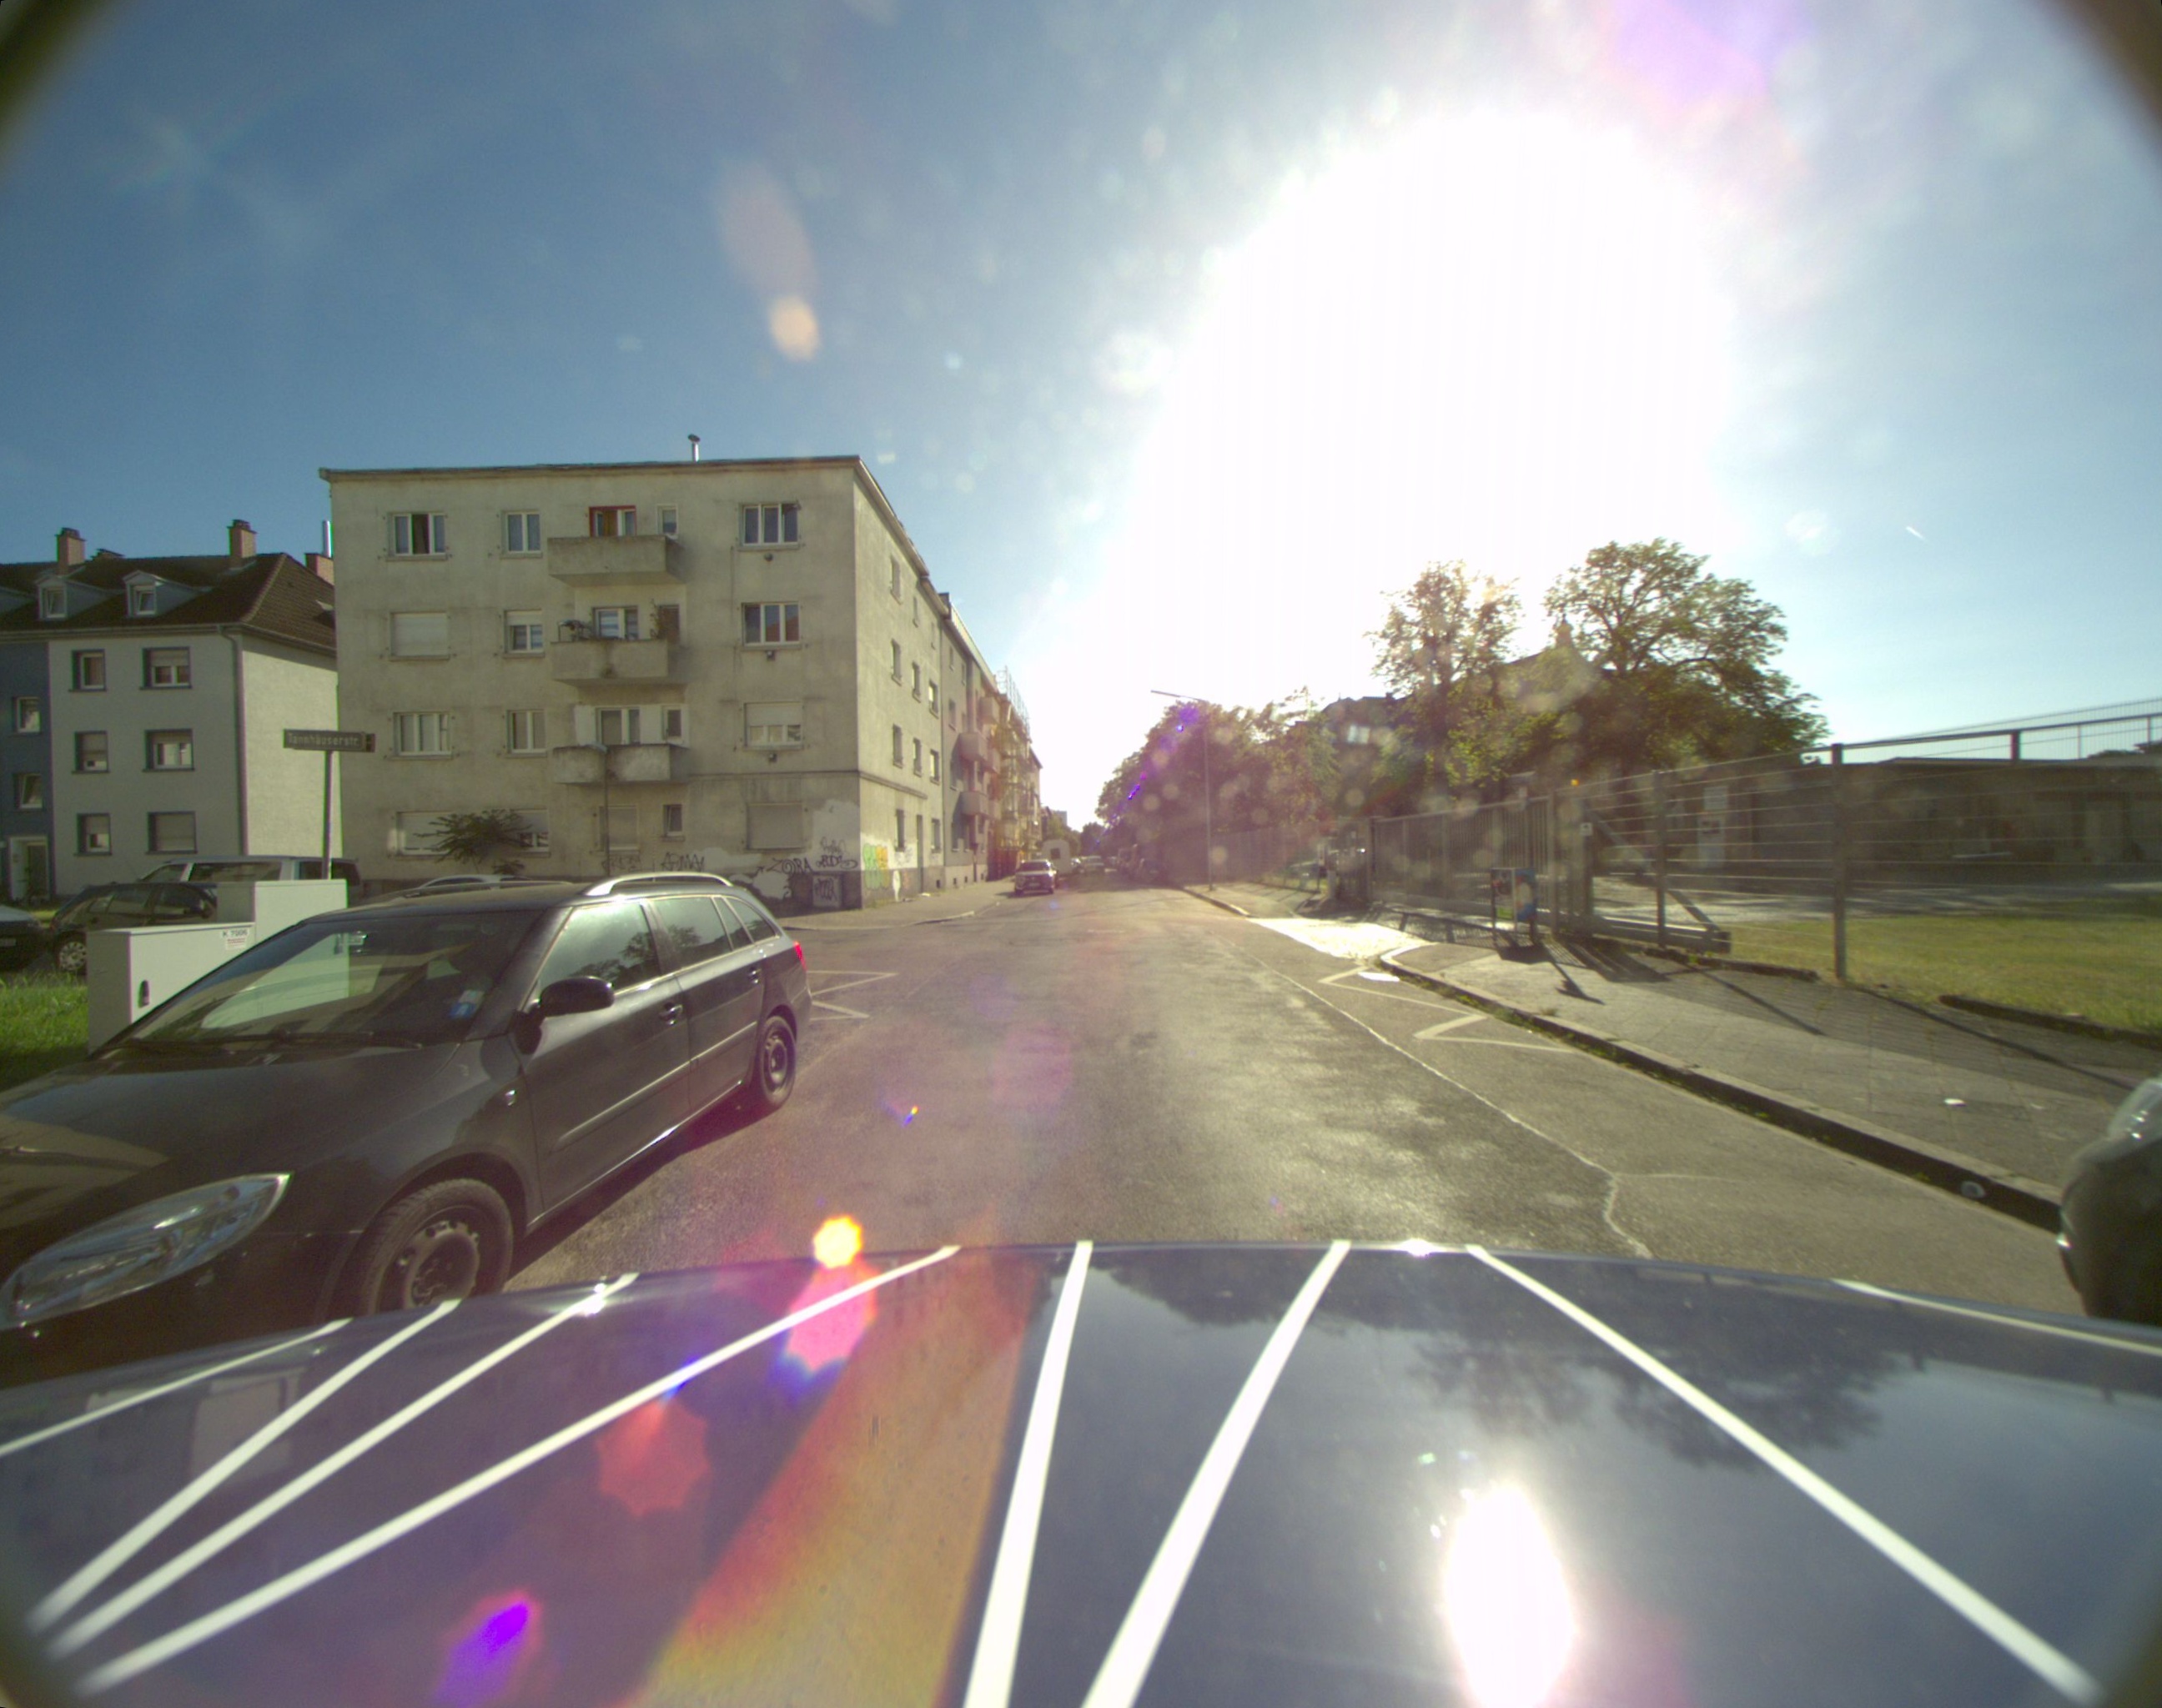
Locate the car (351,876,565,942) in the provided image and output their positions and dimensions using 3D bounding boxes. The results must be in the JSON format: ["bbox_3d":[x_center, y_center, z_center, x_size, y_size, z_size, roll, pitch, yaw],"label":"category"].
[{"bbox_3d":[-14.651,1.271,18.009,3.718,1.450,1.693,-1,-1,2],"label":"car"}]

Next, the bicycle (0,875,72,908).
[{"bbox_3d":[-36.460,1.291,26.182,0.500,0.956,2.073,-1,4,2],"label":"bicycle"}]

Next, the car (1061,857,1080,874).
[{"bbox_3d":[-0.904,0.975,68.180,1.651,1.408,3.999,-2,0,0],"label":"car"}]

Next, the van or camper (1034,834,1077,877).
[{"bbox_3d":[-1.838,0.130,58.259,2.957,3.161,6.174,0,0,1],"label":"van or camper"}]

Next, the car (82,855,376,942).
[{"bbox_3d":[-20.171,1.030,18.155,4.852,1.921,1.958,-1,-1,1],"label":"car"}]

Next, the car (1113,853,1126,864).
[{"bbox_3d":[6.129,0.774,121.892,1.998,1.738,4.000,-1,0,1],"label":"car"}]

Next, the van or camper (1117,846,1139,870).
[{"bbox_3d":[4.984,0.440,81.072,2.126,2.484,3.999,-1,0,0],"label":"van or camper"}]

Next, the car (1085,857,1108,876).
[{"bbox_3d":[1.334,1.019,65.273,1.862,1.543,3.999,-1,0,0],"label":"car"}]

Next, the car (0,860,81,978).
[{"bbox_3d":[-19.113,1.041,11.947,4.535,1.834,1.805,-1,-2,3],"label":"car"}]

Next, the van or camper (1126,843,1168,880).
[{"bbox_3d":[4.277,0.478,50.054,2.211,2.268,5.309,-2,0,0],"label":"van or camper"}]

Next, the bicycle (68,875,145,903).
[{"bbox_3d":[-34.622,1.245,27.002,2.072,0.956,0.500,-1,4,2],"label":"bicycle"}]

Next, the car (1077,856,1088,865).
[{"bbox_3d":[0.197,1.003,117.896,1.651,1.451,3.999,-1,0,0],"label":"car"}]

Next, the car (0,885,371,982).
[{"bbox_3d":[-14.243,1.222,12.162,4.046,1.406,1.804,-1,-2,1],"label":"car"}]

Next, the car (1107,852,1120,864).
[{"bbox_3d":[5.588,0.718,130.265,1.998,2.002,4.000,-1,0,1],"label":"car"}]

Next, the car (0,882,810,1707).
[{"bbox_3d":[-2.745,0.997,3.316,1.622,1.539,4.085,-1,1,0],"label":"car"}]

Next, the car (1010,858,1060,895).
[{"bbox_3d":[-2.080,1.004,35.682,2.069,1.544,3.999,-2,0,0],"label":"car"}]

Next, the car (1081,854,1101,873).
[{"bbox_3d":[0.887,0.817,68.630,1.651,1.674,3.999,-1,0,0],"label":"car"}]

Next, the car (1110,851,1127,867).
[{"bbox_3d":[4.777,0.655,96.423,1.998,2.002,4.000,-1,0,1],"label":"car"}]

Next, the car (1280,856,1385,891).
[{"bbox_3d":[11.087,0.848,33.712,3.997,1.412,2.000,-1,0,0],"label":"car"}]

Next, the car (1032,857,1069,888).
[{"bbox_3d":[-1.636,0.970,42.067,1.876,1.544,3.999,-2,0,0],"label":"car"}]

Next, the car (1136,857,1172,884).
[{"bbox_3d":[4.198,0.941,43.998,1.651,1.408,3.999,-2,0,0],"label":"car"}]
